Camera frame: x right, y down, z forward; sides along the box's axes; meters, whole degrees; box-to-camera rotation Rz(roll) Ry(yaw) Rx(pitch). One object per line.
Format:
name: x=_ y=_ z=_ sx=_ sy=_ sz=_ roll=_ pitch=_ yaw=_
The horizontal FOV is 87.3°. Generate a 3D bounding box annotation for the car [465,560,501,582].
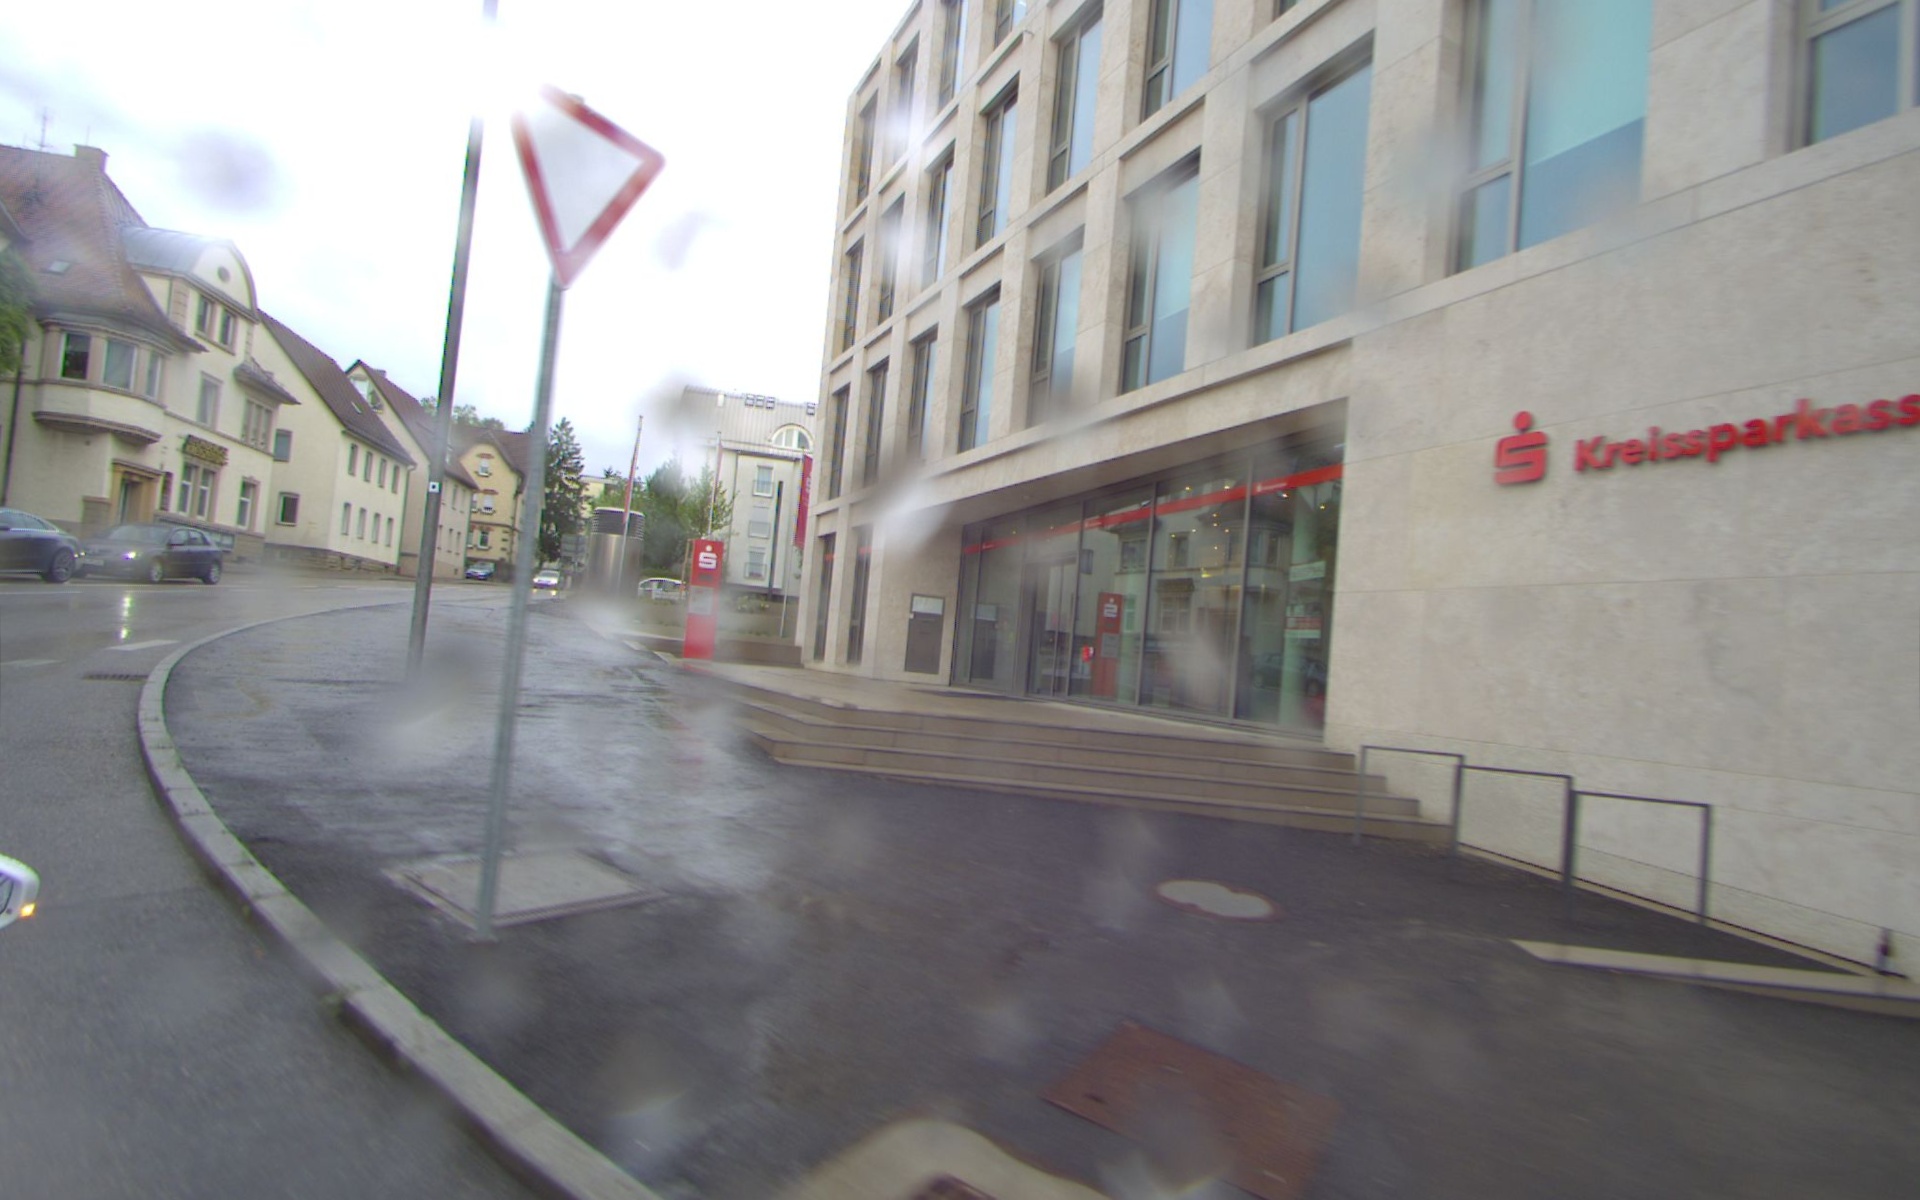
car: x=-38.008 y=-2.280 z=80.285 sx=1.668 sy=1.471 sz=3.226 roll=7 pitch=-1 yaw=-10

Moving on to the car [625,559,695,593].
car: x=-15.433 y=-1.232 z=51.960 sx=3.179 sy=1.304 sz=1.692 roll=8 pitch=-1 yaw=-11

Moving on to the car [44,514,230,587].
car: x=-20.000 y=-1.134 z=24.702 sx=1.749 sy=1.470 sz=4.177 roll=5 pitch=0 yaw=-12

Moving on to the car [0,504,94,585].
car: x=-18.711 y=-1.113 z=18.827 sx=1.749 sy=1.470 sz=4.530 roll=5 pitch=0 yaw=-12

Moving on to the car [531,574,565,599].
car: x=-31.310 y=-1.005 z=76.504 sx=1.607 sy=1.617 sz=3.226 roll=7 pitch=-1 yaw=-10
